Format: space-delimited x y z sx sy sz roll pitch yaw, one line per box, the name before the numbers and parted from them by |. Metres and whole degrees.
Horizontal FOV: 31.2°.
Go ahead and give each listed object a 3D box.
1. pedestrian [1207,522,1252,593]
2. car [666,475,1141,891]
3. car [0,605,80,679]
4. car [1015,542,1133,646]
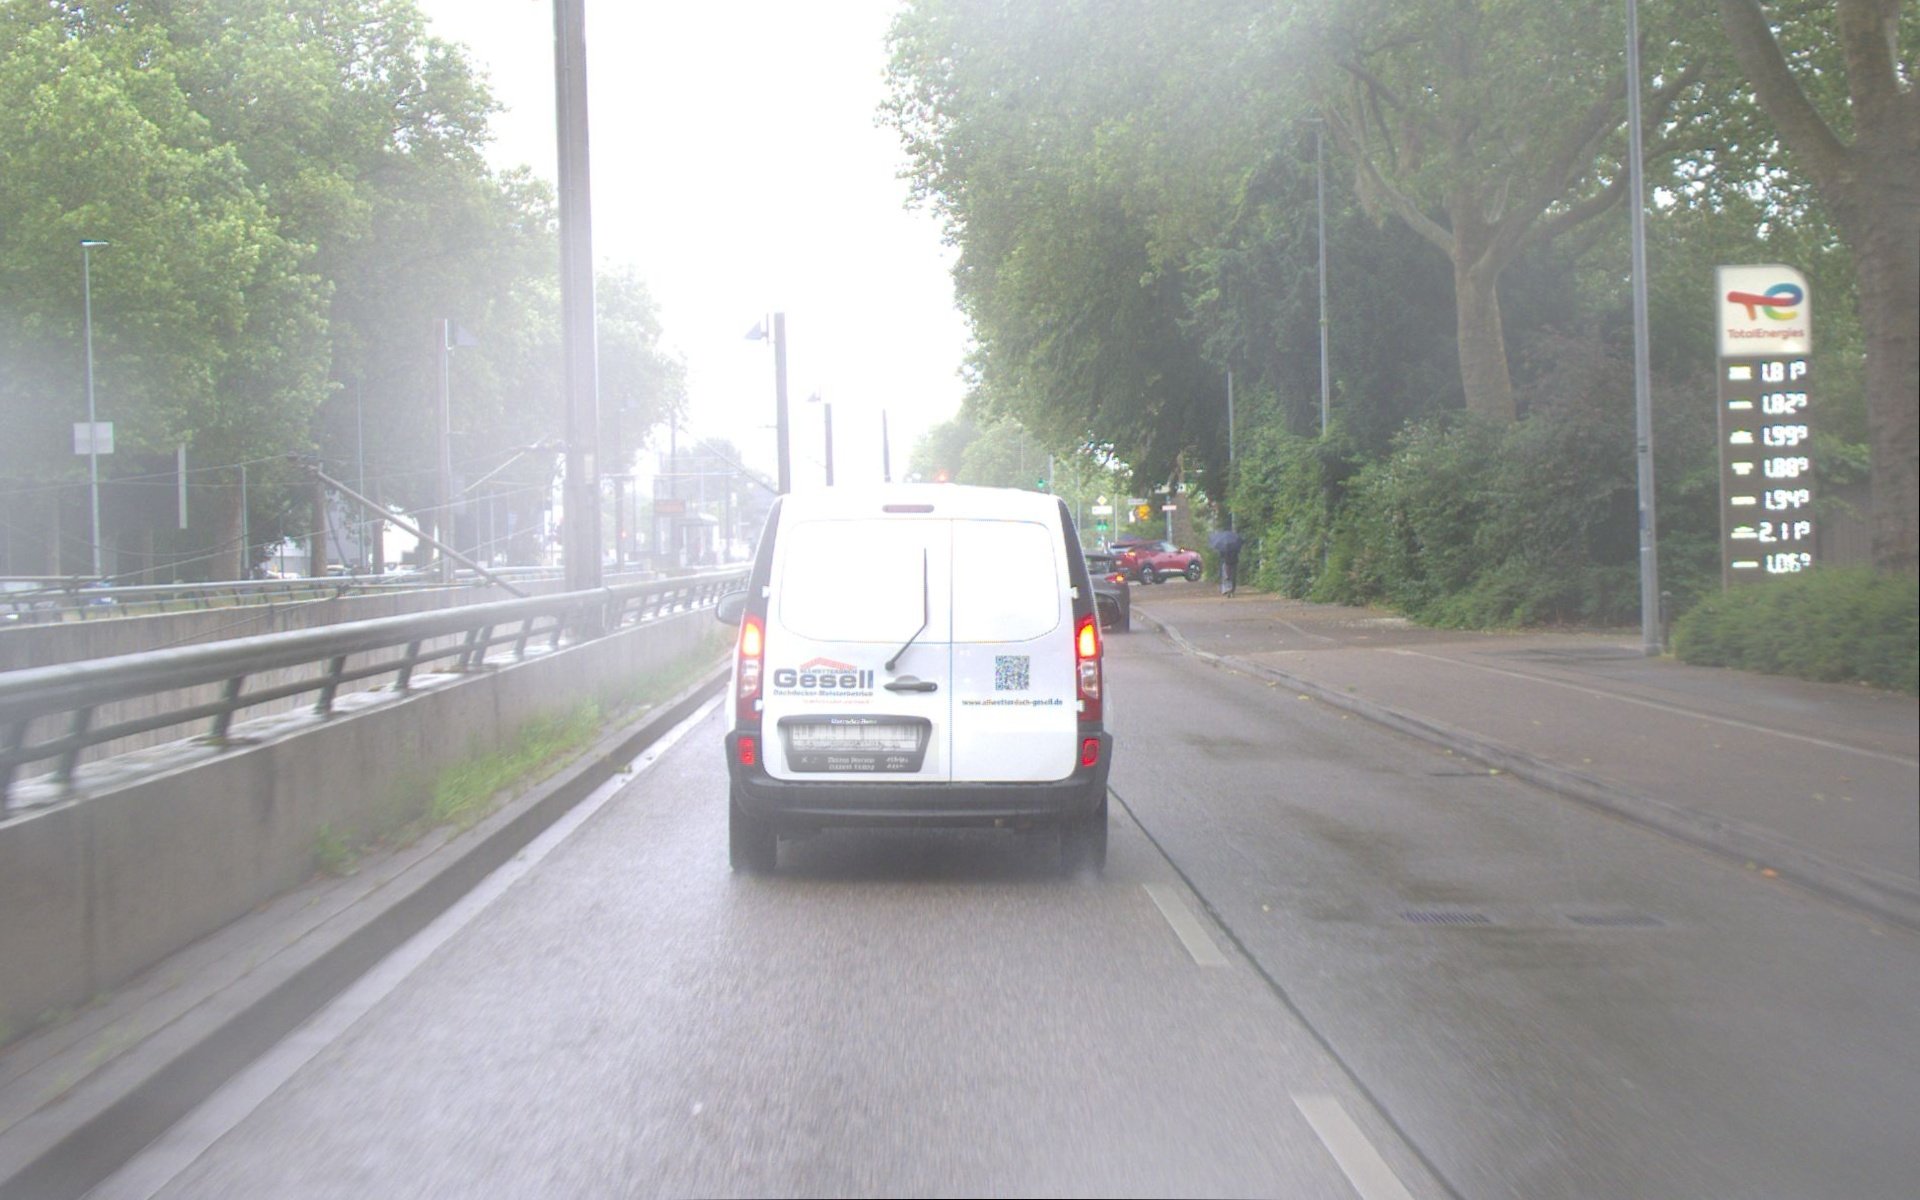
pedestrian | 6.454 -1.017 82.310 0.967 1.696 1.141 -1 1 0
car | -0.285 0.323 16.945 2.025 1.769 4.274 1 1 -1
car | -19.558 0.847 70.348 1.993 1.399 3.794 -1 1 2
car | 2.018 -0.137 60.333 1.994 1.744 4.000 1 1 2
